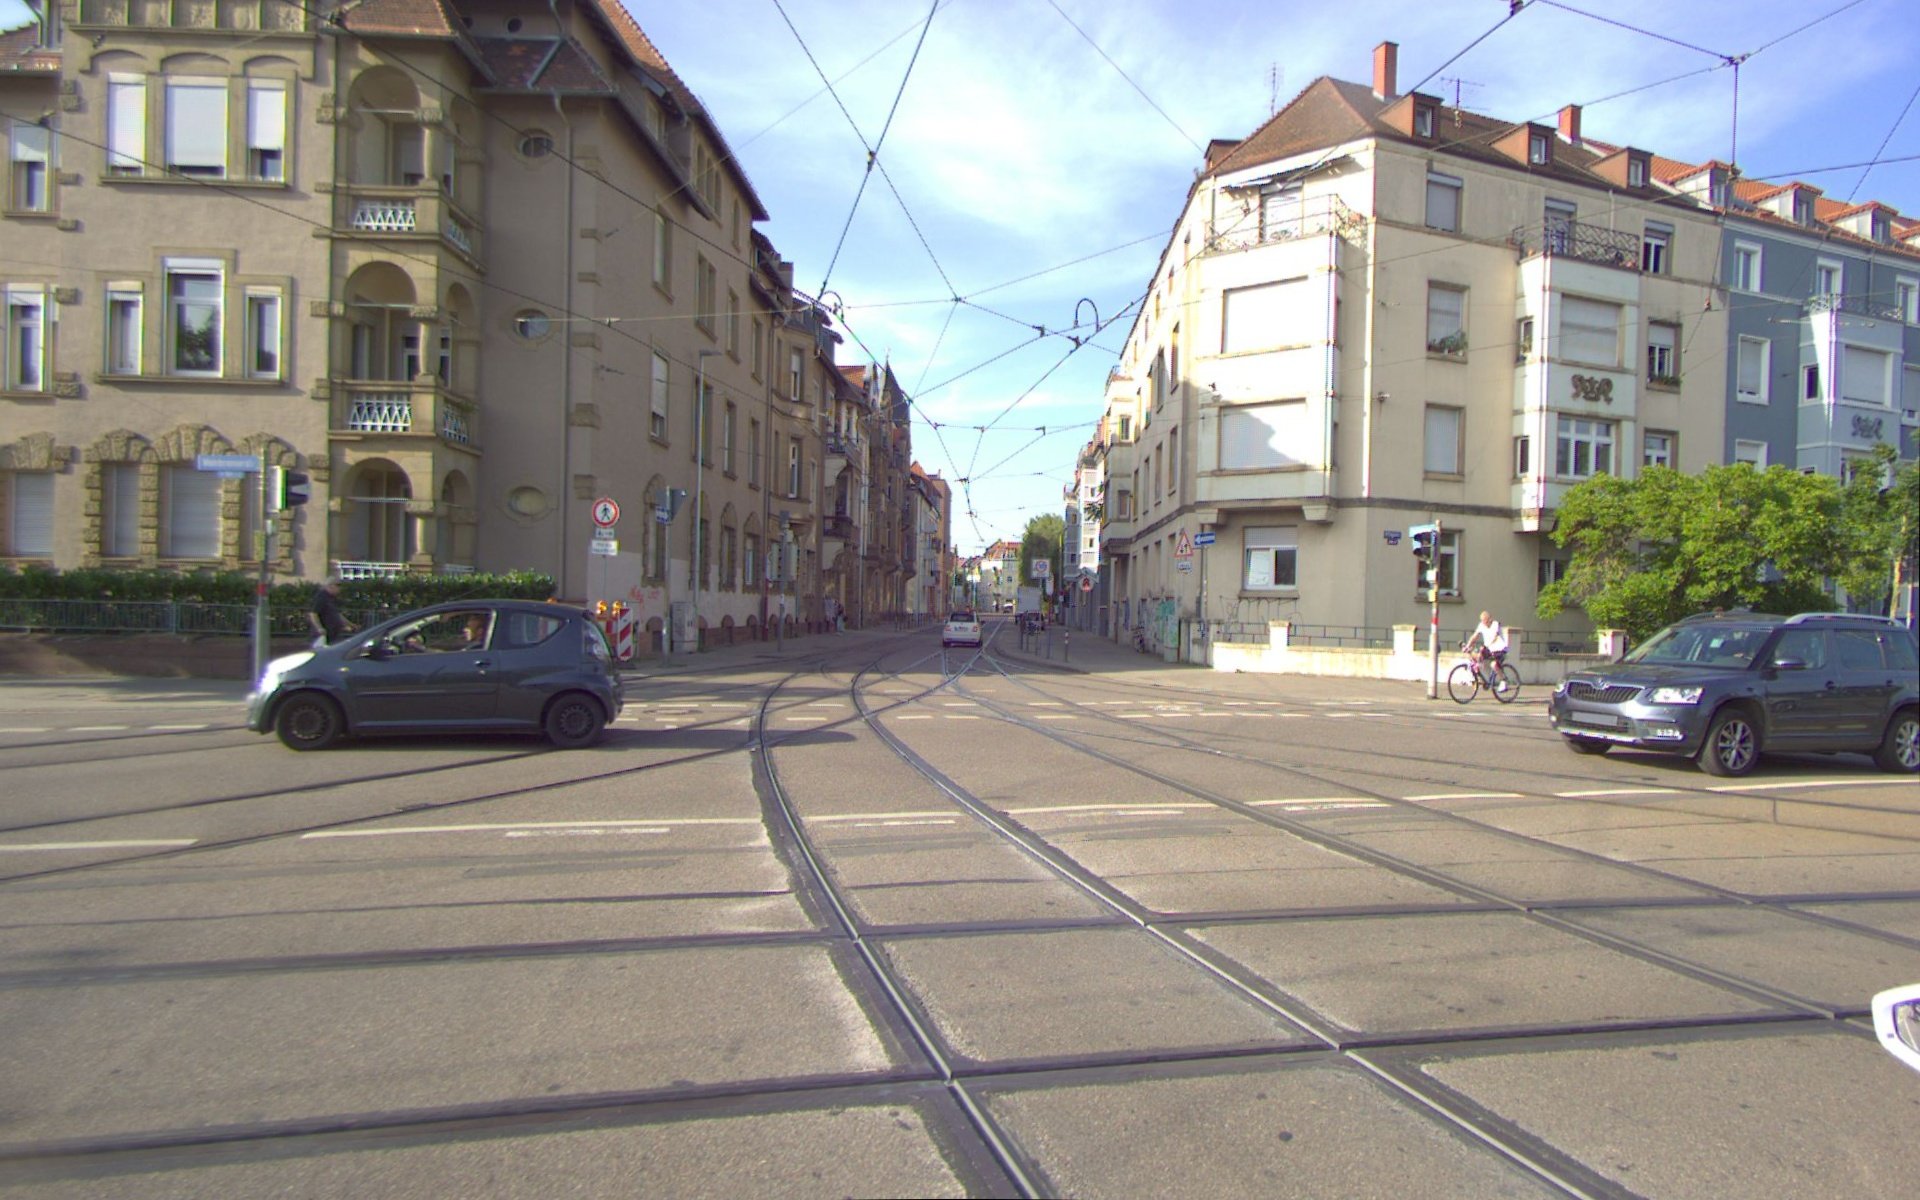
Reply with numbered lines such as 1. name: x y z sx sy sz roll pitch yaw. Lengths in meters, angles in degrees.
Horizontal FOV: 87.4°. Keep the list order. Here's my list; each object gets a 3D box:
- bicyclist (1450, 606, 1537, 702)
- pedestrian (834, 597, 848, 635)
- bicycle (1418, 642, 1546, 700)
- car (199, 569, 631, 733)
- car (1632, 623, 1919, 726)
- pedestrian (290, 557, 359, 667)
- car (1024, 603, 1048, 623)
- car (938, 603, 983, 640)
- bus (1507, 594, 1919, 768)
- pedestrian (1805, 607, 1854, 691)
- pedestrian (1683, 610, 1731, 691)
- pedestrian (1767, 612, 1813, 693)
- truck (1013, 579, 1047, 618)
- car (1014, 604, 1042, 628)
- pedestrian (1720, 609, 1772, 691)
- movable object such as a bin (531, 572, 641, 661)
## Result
1. bicyclist: 9.816 0.981 18.502 1.145 1.690 0.762 1 0 -6
2. pedestrian: -5.877 0.774 49.638 0.535 1.847 0.477 2 0 3
3. bicycle: 9.598 1.301 18.492 1.996 0.978 0.770 1 0 -7
4. car: -5.270 0.494 10.232 3.570 1.452 1.633 1 0 -17
5. car: 12.904 1.170 15.923 3.938 1.439 1.687 2 0 -19
6. pedestrian: -9.988 0.189 15.807 0.592 1.673 0.681 2 0 2
7. car: 6.020 1.014 79.665 1.764 1.476 4.002 1 0 4
8. car: 0.052 0.888 43.483 1.764 1.476 4.001 1 0 2
9. bus: 8.408 0.820 11.046 4.092 1.658 1.844 2 0 -17
10. pedestrian: 20.156 1.121 23.287 0.617 1.906 0.584 1 0 -20
11. pedestrian: 17.921 1.203 24.092 0.617 1.906 0.657 1 0 -21
12. pedestrian: 19.906 1.252 24.098 0.617 1.906 0.583 1 0 -21
13. truck: 7.077 -0.136 102.144 3.191 3.778 9.927 2 0 3
14. car: 4.454 1.031 65.910 1.764 1.476 4.002 1 0 4
15. pedestrian: 18.330 1.161 23.429 0.639 1.873 0.674 1 0 -17
16. movable object such as a bin: -7.607 0.339 20.577 0.260 1.732 2.376 2 0 34
